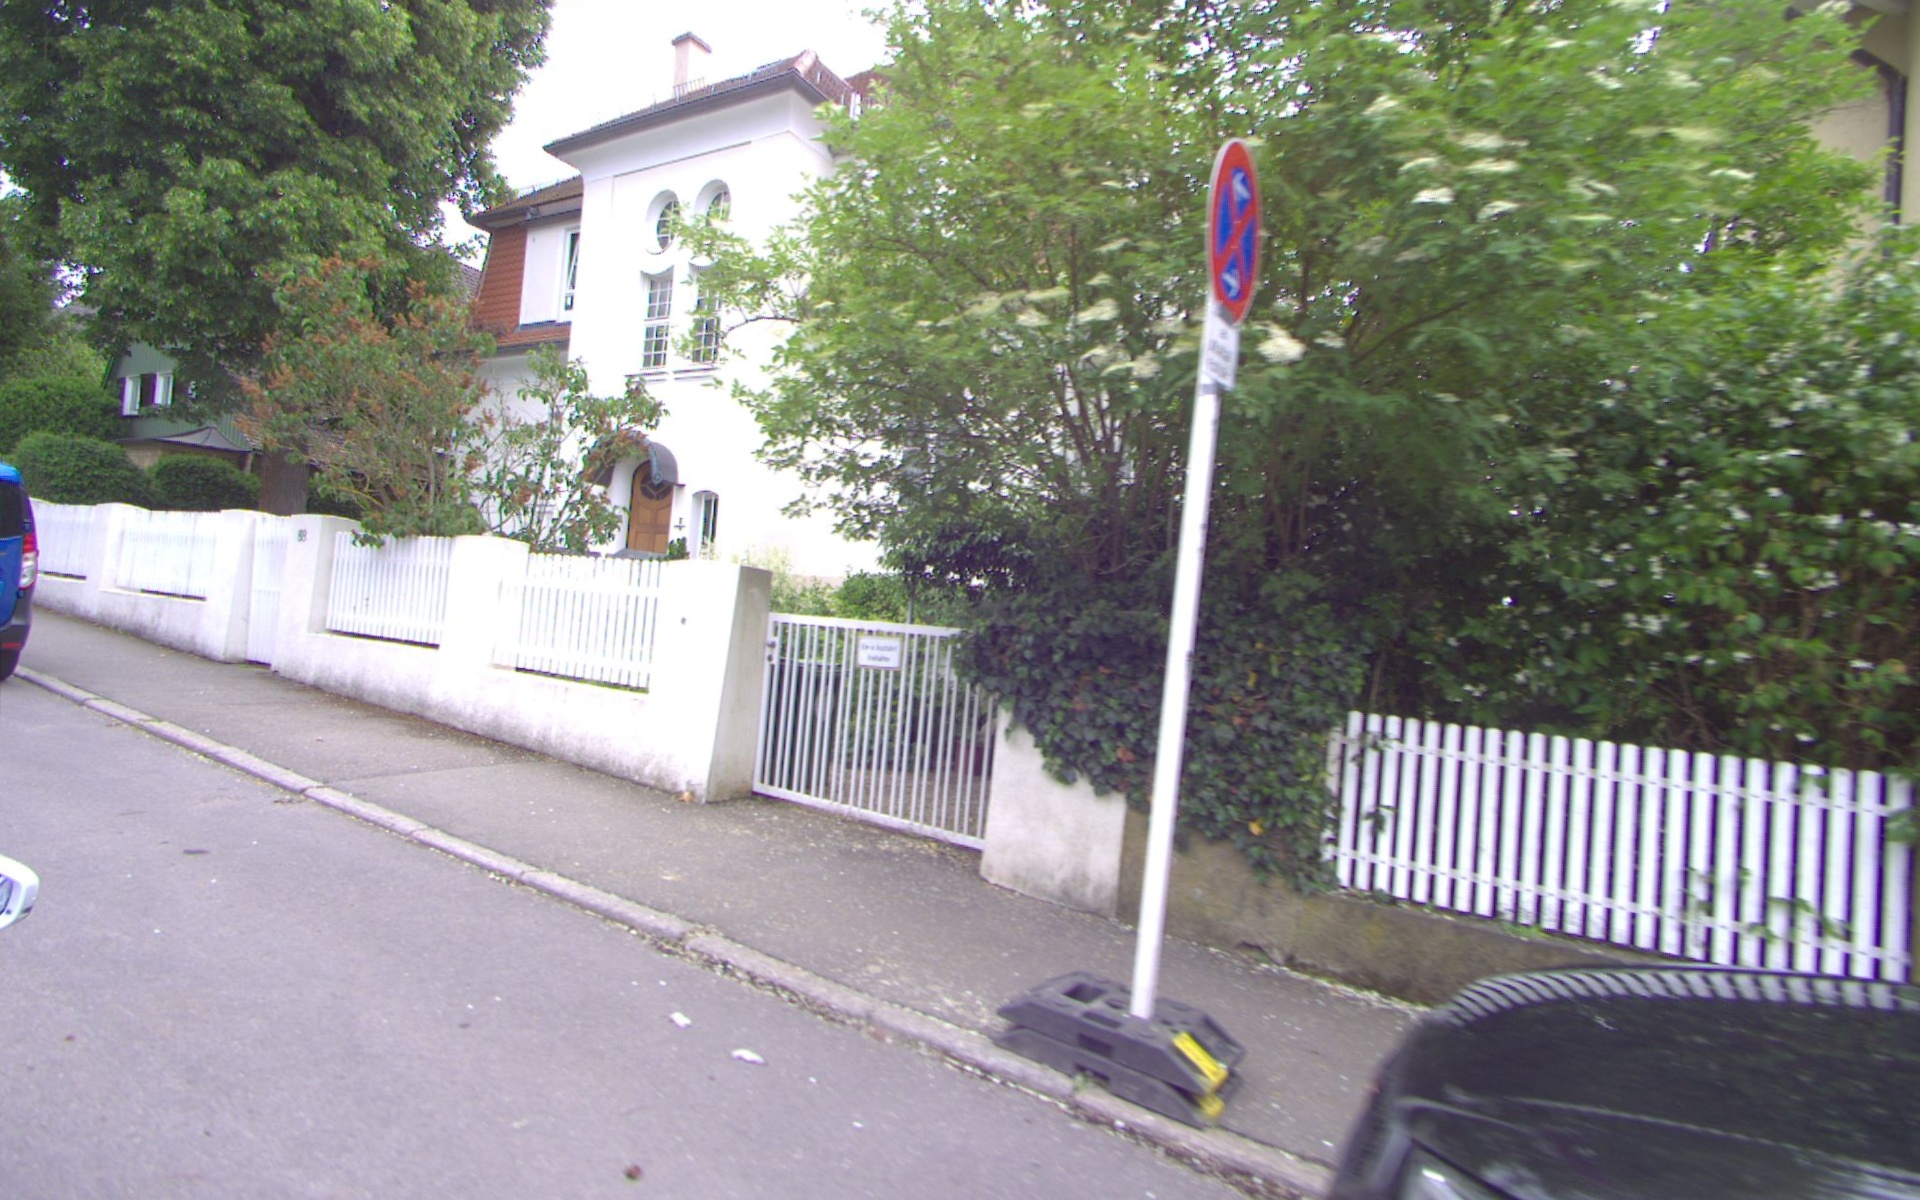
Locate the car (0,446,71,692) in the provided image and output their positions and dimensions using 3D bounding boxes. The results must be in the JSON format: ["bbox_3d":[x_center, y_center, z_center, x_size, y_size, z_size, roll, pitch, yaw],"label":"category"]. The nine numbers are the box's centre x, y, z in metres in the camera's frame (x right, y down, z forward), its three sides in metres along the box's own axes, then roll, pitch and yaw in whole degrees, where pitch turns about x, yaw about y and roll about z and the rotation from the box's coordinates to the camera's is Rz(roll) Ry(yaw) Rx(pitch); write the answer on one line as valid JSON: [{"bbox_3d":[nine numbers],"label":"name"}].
[{"bbox_3d":[-9.297,-0.516,8.223,4.086,1.849,1.687,7,-2,31],"label":"car"}]

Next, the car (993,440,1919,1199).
[{"bbox_3d":[2.161,0.936,0.678,4.007,1.625,1.755,6,-3,31],"label":"car"}]
